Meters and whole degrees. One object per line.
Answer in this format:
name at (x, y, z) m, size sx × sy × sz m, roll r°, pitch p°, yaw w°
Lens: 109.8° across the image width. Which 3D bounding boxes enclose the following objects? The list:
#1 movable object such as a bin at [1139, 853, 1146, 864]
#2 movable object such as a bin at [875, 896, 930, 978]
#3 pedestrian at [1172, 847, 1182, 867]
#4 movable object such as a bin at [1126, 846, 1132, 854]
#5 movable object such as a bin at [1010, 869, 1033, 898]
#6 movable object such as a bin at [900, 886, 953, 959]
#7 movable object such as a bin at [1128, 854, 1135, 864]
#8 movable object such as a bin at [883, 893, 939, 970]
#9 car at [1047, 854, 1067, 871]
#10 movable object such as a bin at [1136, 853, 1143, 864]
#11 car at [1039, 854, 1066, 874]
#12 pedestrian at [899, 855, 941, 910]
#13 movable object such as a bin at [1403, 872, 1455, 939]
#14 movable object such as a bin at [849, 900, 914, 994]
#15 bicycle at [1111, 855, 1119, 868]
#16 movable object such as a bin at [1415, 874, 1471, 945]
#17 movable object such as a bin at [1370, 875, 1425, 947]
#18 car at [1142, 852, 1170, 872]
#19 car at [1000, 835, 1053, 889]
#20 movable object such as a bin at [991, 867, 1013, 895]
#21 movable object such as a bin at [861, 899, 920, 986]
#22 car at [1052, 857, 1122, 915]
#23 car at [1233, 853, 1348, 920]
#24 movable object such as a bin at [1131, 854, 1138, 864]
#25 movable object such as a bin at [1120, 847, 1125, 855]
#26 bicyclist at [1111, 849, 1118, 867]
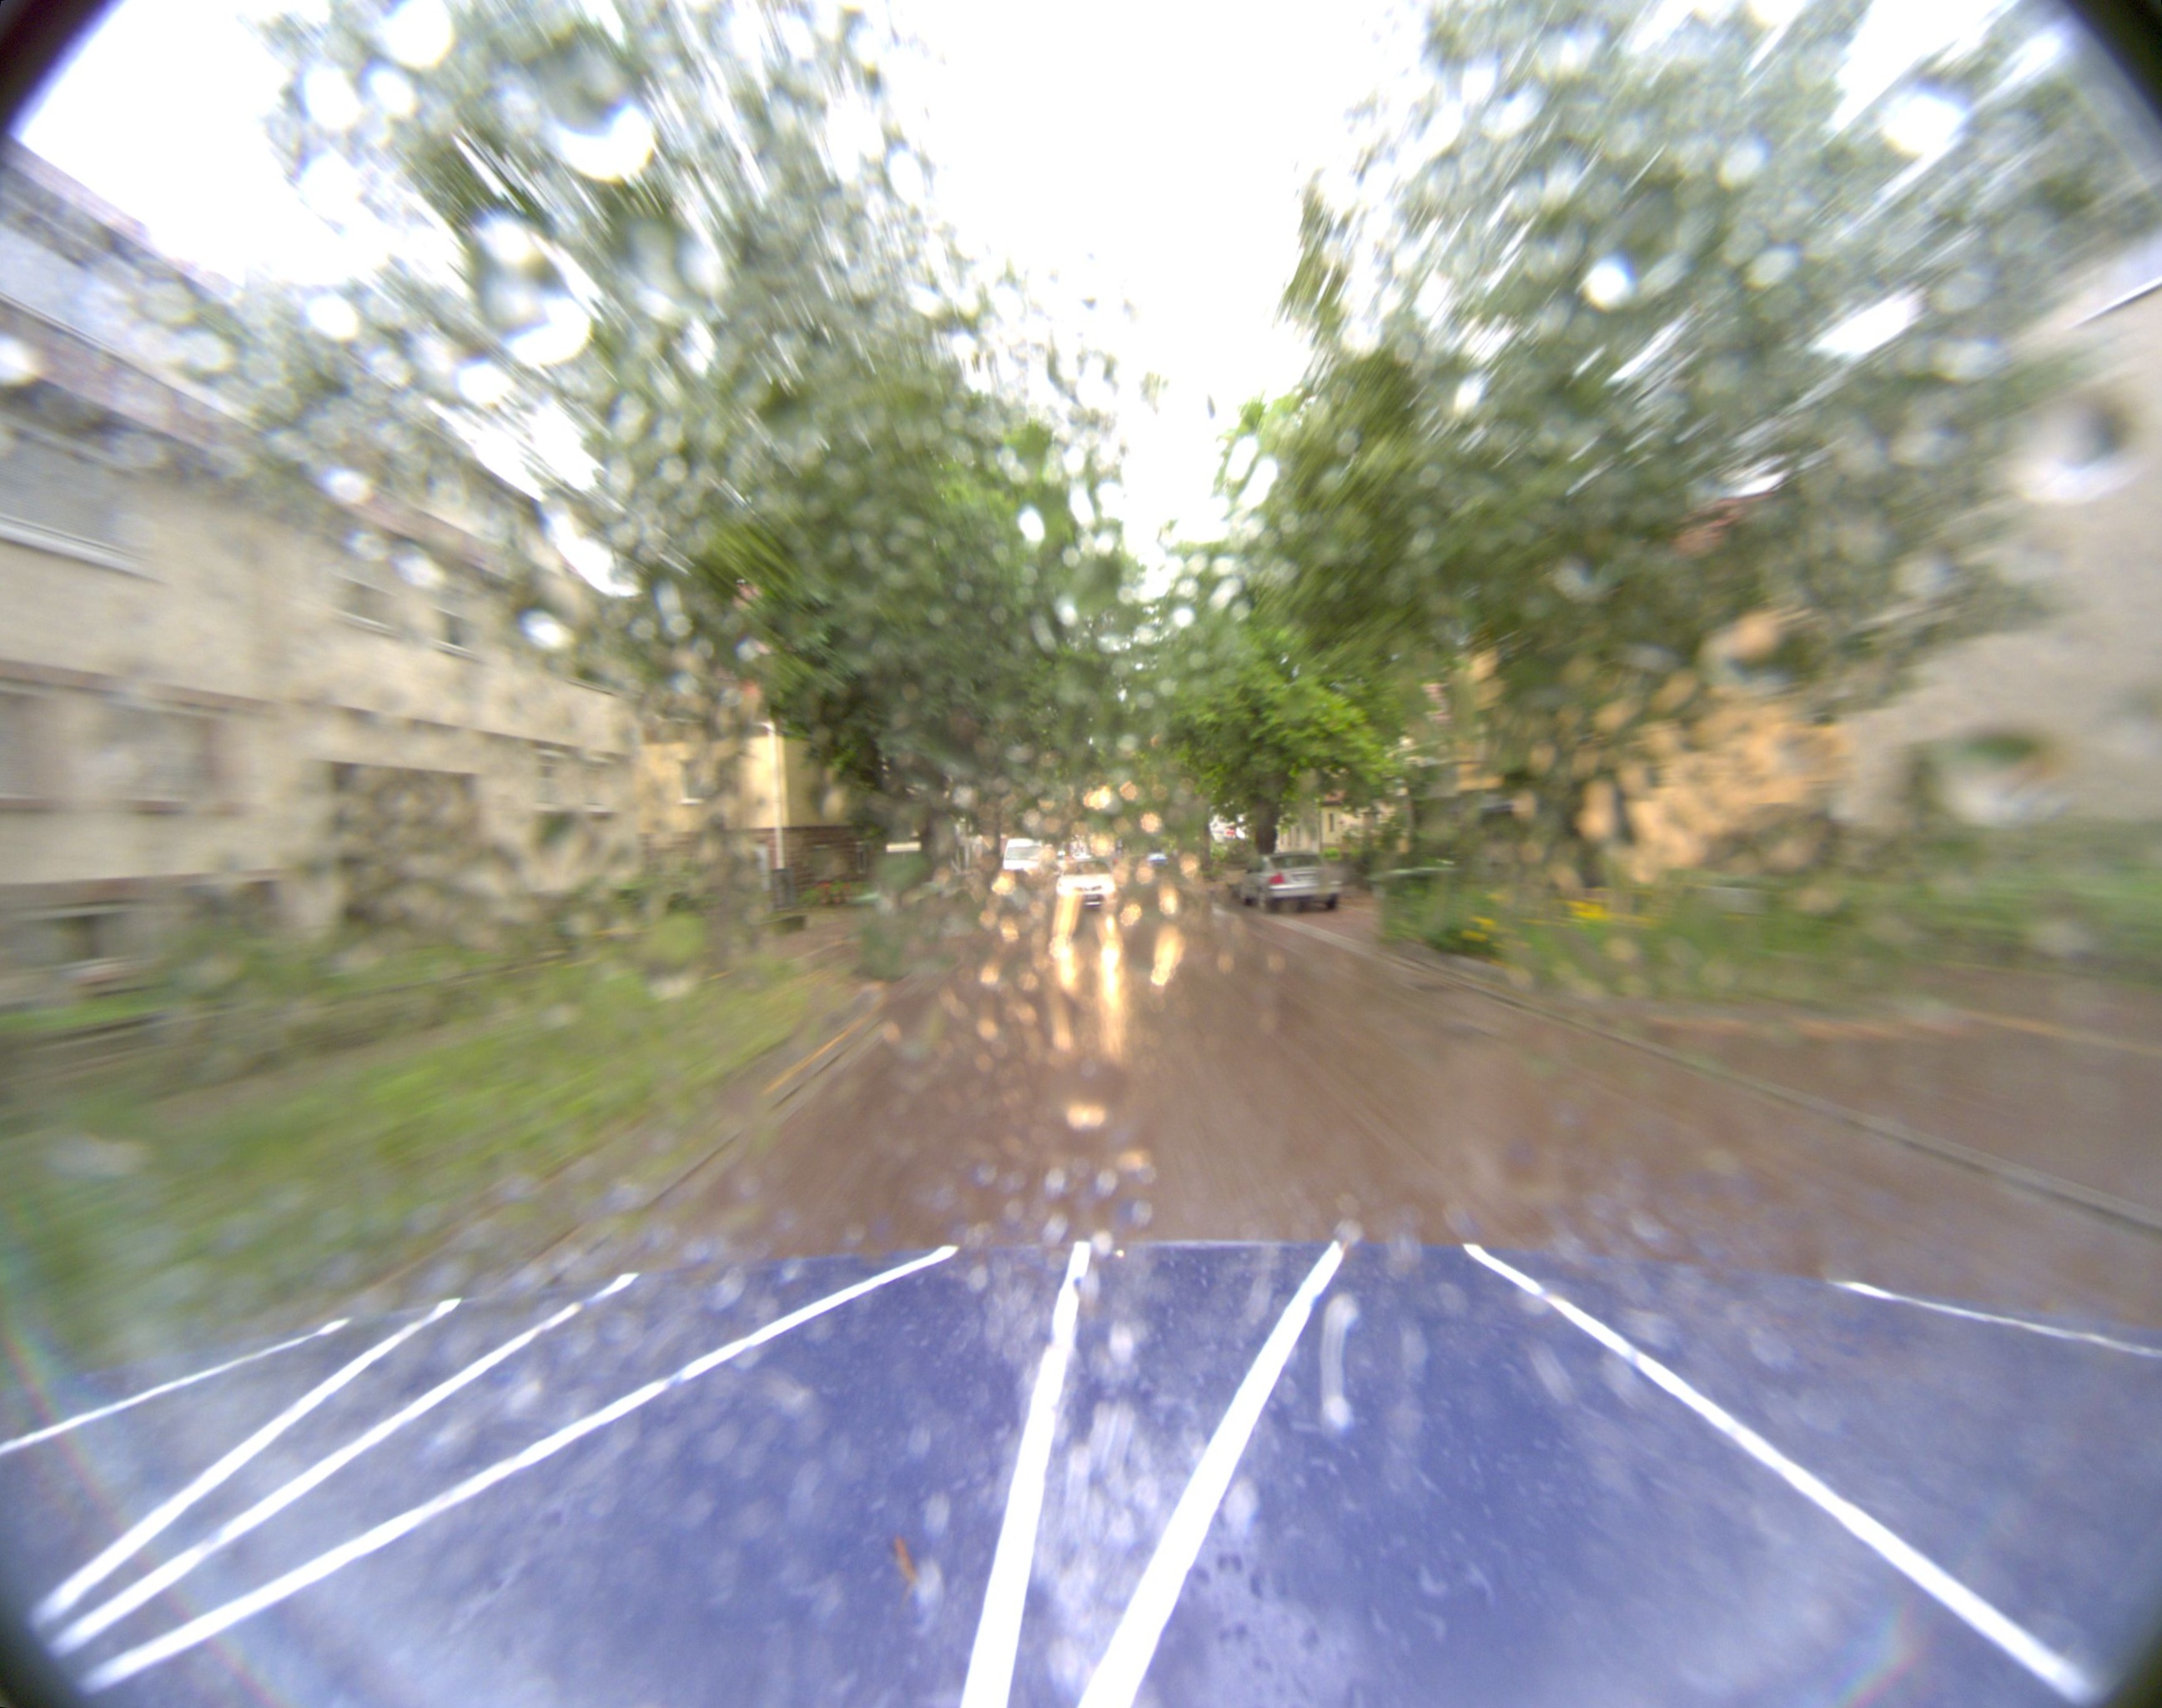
movable object such as a bin at (6.515, 0.476, 80.657) m, size 0.665 × 1.068 × 0.596 m, roll -1°, pitch 2°, yaw 5°
movable object such as a bin at (-2.505, 1.154, 10.702) m, size 0.611 × 1.076 × 0.513 m, roll -3°, pitch 1°, yaw -3°
pedestrian at (7.829, 0.240, 62.014) m, size 0.651 × 1.585 × 0.932 m, roll -3°, pitch 1°, yaw 1°
movable object such as a bin at (6.380, -0.497, 101.484) m, size 0.618 × 1.053 × 0.569 m, roll -5°, pitch 1°, yaw -1°
movable object such as a bin at (-2.407, 1.179, 30.638) m, size 0.799 × 1.069 × 0.879 m, roll -3°, pitch 1°, yaw 1°
movable object such as a bin at (-2.450, 1.079, 12.107) m, size 0.690 × 1.076 × 0.540 m, roll -3°, pitch 1°, yaw -3°
movable object such as a bin at (5.415, 0.507, 81.429) m, size 0.665 × 1.068 × 0.596 m, roll -1°, pitch 2°, yaw 5°
movable object such as a bin at (-2.533, 1.144, 11.347) m, size 0.690 × 1.076 × 0.540 m, roll -2°, pitch 1°, yaw -3°
car at (-2.133, 0.735, 68.957) m, size 1.685 × 1.391 × 3.794 m, roll -2°, pitch 0°, yaw 0°
movable object such as a bin at (6.271, 0.473, 81.347) m, size 0.665 × 1.068 × 0.596 m, roll -1°, pitch 2°, yaw 5°
car at (-2.165, 0.737, 58.979) m, size 1.813 × 1.403 × 3.783 m, roll -3°, pitch 0°, yaw 1°
pedestrian at (-4.978, 0.880, 23.537) m, size 0.955 × 1.642 × 0.795 m, roll -1°, pitch 1°, yaw 14°
movable object such as a bin at (5.803, 0.848, 12.695) m, size 0.596 × 1.056 × 0.545 m, roll -3°, pitch 1°, yaw 4°
movable object such as a bin at (-2.489, 1.152, 9.537) m, size 0.645 × 1.076 × 0.540 m, roll -3°, pitch 1°, yaw -3°
bicycle at (3.304, 0.689, 74.481) m, size 0.629 × 1.202 × 1.981 m, roll -3°, pitch 1°, yaw 1°
movable object such as a bin at (5.748, 0.871, 12.084) m, size 0.596 × 1.056 × 0.545 m, roll -4°, pitch 1°, yaw 4°
movable object such as a bin at (5.041, 0.899, 12.130) m, size 0.596 × 1.056 × 0.545 m, roll -5°, pitch 0°, yaw 4°
car at (5.537, 0.560, 56.411) m, size 1.754 × 1.388 × 3.796 m, roll -3°, pitch 0°, yaw 2°
car at (-2.675, 0.356, 38.725) m, size 2.146 × 2.446 × 5.435 m, roll -3°, pitch 1°, yaw 1°
movable object such as a bin at (-3.175, 1.093, 30.685) m, size 0.750 × 1.069 × 0.879 m, roll -3°, pitch 1°, yaw 1°
movable object such as a bin at (-2.532, 1.162, 10.143) m, size 0.632 × 1.076 × 0.472 m, roll -3°, pitch 1°, yaw -3°
car at (0.253, 0.892, 22.655) m, size 1.828 × 1.451 × 3.876 m, roll -3°, pitch 0°, yaw 3°
car at (5.184, 0.731, 19.447) m, size 1.776 × 1.381 × 4.546 m, roll -4°, pitch 0°, yaw 2°
movable object such as a bin at (5.666, 0.515, 80.681) m, size 0.665 × 1.061 × 0.596 m, roll -1°, pitch 2°, yaw 5°
movable object such as a bin at (5.575, -0.390, 101.415) m, size 0.585 × 1.071 × 0.570 m, roll -5°, pitch 1°, yaw -1°
bicyclist at (3.298, 0.351, 74.833) m, size 0.629 × 1.721 × 0.880 m, roll -3°, pitch 1°, yaw 1°
